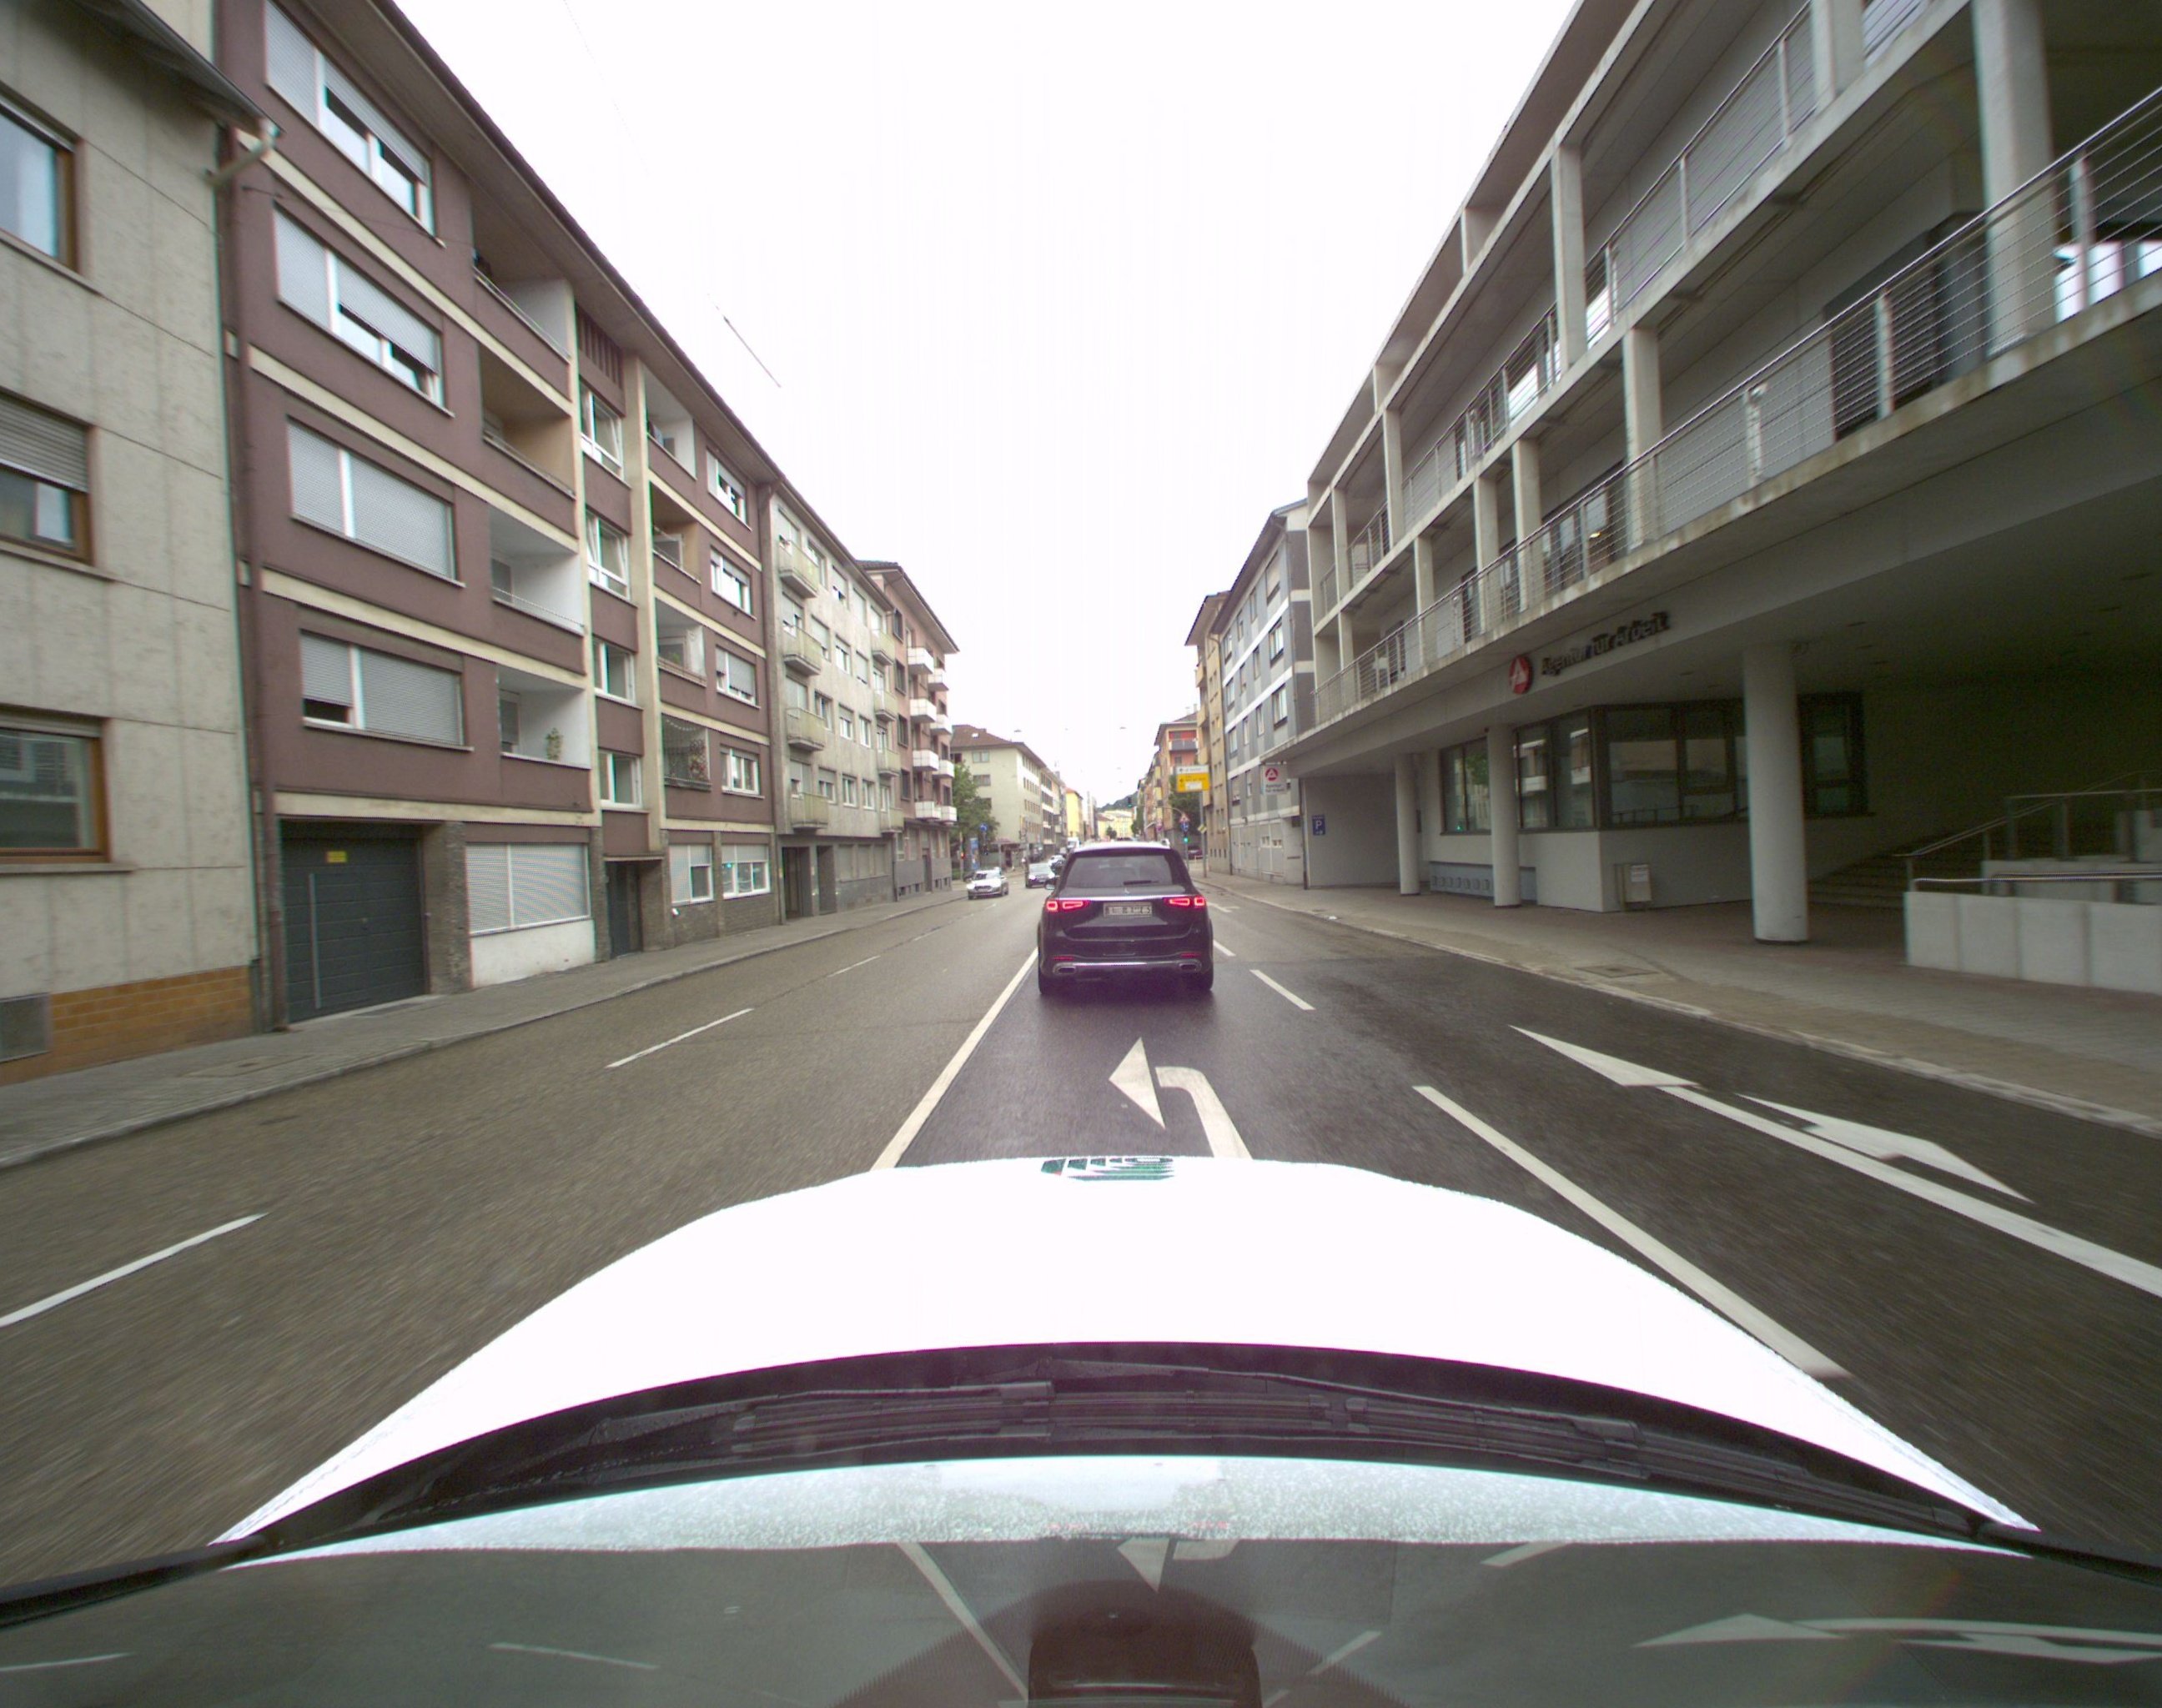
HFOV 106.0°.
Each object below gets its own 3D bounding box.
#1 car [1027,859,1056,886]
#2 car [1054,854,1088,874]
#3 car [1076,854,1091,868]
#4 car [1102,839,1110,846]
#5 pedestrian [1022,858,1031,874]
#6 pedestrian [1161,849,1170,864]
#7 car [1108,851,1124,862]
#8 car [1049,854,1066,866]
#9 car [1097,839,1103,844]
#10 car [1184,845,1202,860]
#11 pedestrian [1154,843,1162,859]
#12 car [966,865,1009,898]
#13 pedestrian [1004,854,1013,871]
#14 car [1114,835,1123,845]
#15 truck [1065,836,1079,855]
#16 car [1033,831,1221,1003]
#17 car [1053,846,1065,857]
[{"bbox_3d":[-2.727,1.230,55.480,1.769,1.645,4.404,-4,0,-5],"label":"car"},{"bbox_3d":[-0.922,0.949,72.494,1.776,1.539,4.334,-4,-1,-16],"label":"car"},{"bbox_3d":[0.293,0.865,97.262,1.613,1.539,4.216,-4,-1,0],"label":"car"},{"bbox_3d":[6.219,-2.852,202.476,1.613,1.539,4.216,-4,-1,0],"label":"car"},{"bbox_3d":[-6.050,1.309,90.763,0.630,1.764,0.777,-3,-1,19],"label":"pedestrian"},{"bbox_3d":[10.435,0.317,100.485,0.920,1.804,0.706,-3,-1,0],"label":"pedestrian"},{"bbox_3d":[4.768,0.416,112.380,1.987,1.351,4.000,-4,-1,1],"label":"car"},{"bbox_3d":[-2.742,0.722,96.739,1.879,1.264,4.216,-4,-1,0],"label":"car"},{"bbox_3d":[5.598,-3.782,246.342,1.613,1.539,4.216,-4,-1,0],"label":"car"},{"bbox_3d":[12.392,-0.127,90.372,1.664,1.588,3.334,-3,0,4],"label":"car"},{"bbox_3d":[10.224,-0.411,108.058,0.920,2.013,0.706,-3,-1,0],"label":"pedestrian"},{"bbox_3d":[-4.980,1.450,43.775,1.767,1.539,4.356,-4,-1,-1],"label":"car"},{"bbox_3d":[-8.771,1.026,98.278,0.920,1.902,0.706,-3,-1,0],"label":"pedestrian"},{"bbox_3d":[7.946,-2.950,173.602,1.718,1.760,4.216,-4,-1,0],"label":"car"},{"bbox_3d":[-1.631,-1.610,153.229,2.472,3.046,9.916,-4,-1,0],"label":"truck"},{"bbox_3d":[0.556,0.700,10.788,1.977,1.805,4.391,0,-1,2],"label":"car"},{"bbox_3d":[-3.473,-0.424,127.794,1.613,1.539,4.216,-4,-1,0],"label":"car"}]
